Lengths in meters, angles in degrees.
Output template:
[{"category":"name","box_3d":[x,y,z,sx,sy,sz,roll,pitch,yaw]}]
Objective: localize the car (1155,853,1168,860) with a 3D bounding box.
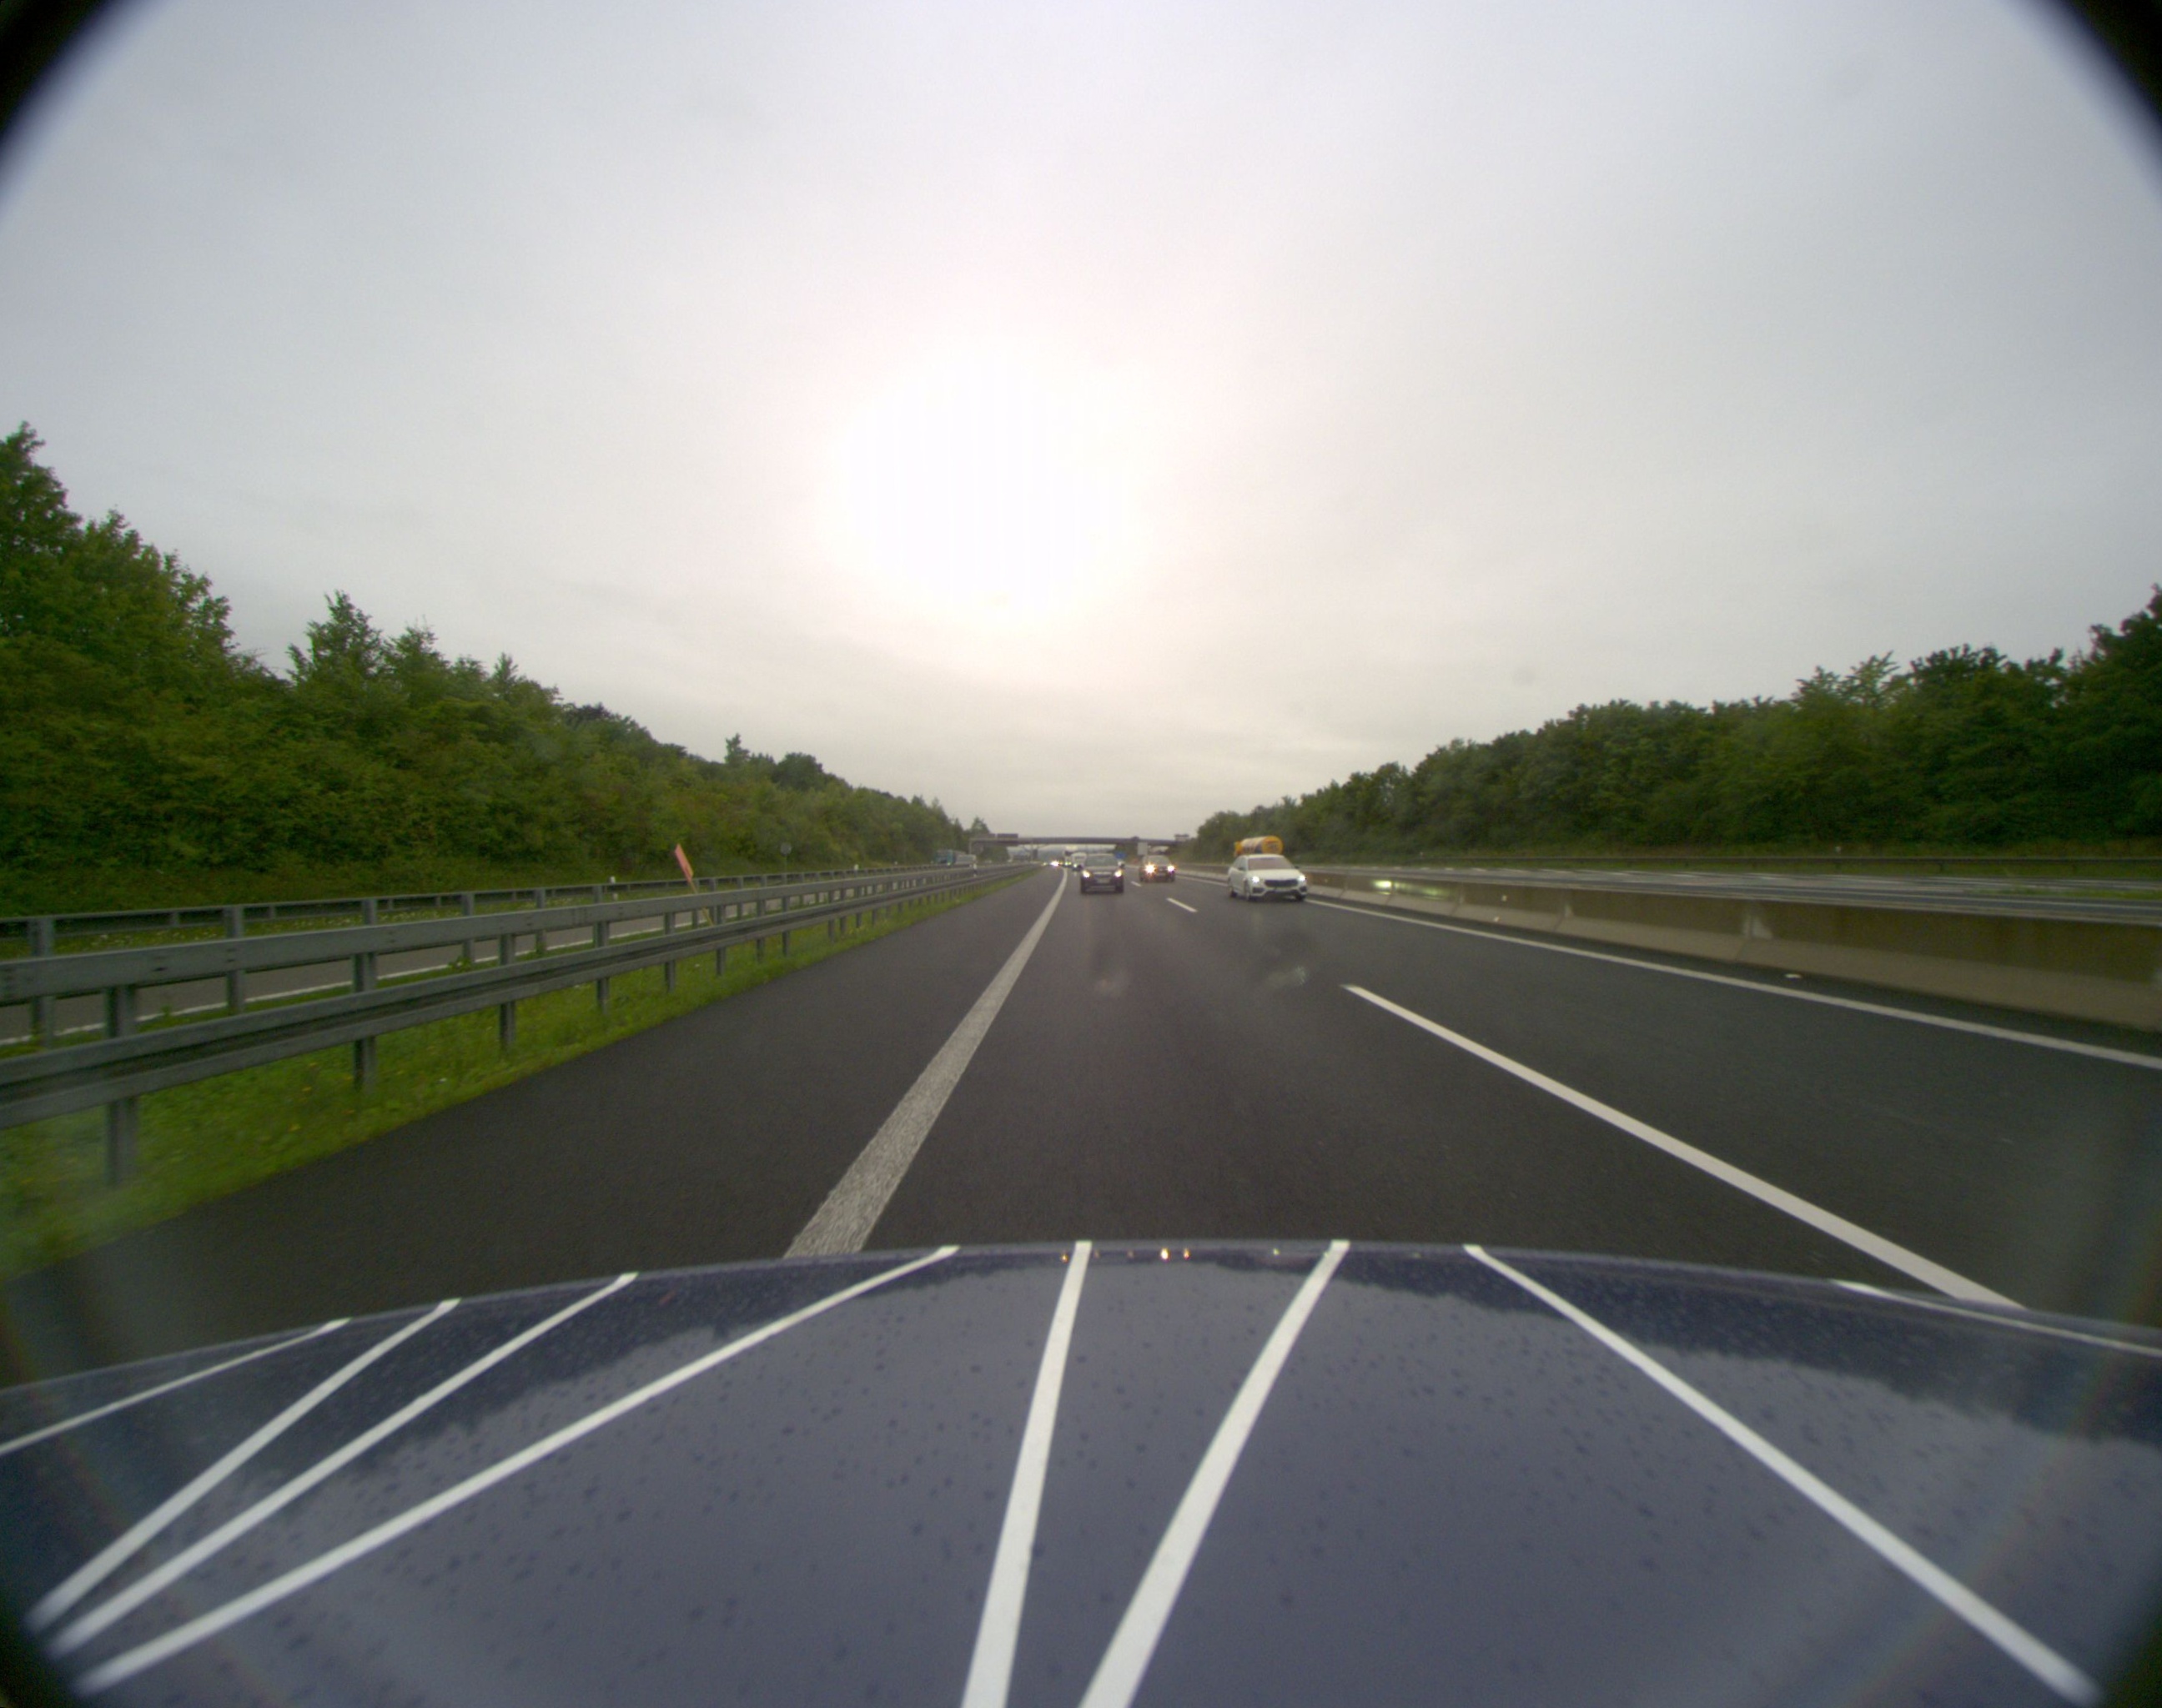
[{"category":"car","box_3d":[19.849,0.564,187.071,2.187,1.686,4.564,-1,0,-8]}]

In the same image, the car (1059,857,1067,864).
[{"category":"car","box_3d":[-4.674,1.756,198.664,1.917,1.671,4.000,-1,0,1]}]

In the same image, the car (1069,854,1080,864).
[{"category":"car","box_3d":[-1.105,0.865,129.584,1.716,1.724,3.999,-1,0,-1]}]

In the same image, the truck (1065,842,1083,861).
[{"category":"truck","box_3d":[-1.389,-0.475,147.329,3.154,3.332,13.098,-1,0,-1]}]

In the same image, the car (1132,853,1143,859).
[{"category":"car","box_3d":[16.686,0.515,223.746,2.187,1.686,4.624,-2,0,-10]}]

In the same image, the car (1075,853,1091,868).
[{"category":"car","box_3d":[0.231,0.715,89.025,1.825,1.669,4.000,-1,0,1]}]

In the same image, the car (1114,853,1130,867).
[{"category":"car","box_3d":[5.204,0.722,96.551,1.716,1.724,3.999,-1,0,-1]}]

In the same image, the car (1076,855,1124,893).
[{"category":"car","box_3d":[0.780,0.817,32.562,1.905,1.497,4.114,-1,0,1]}]

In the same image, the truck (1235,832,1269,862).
[{"category":"truck","box_3d":[20.384,-0.777,90.793,2.768,3.378,5.845,-2,1,1]}]

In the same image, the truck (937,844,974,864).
[{"category":"truck","box_3d":[-21.876,-0.025,133.493,2.907,3.397,13.359,-1,0,6]}]

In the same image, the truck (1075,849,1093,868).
[{"category":"truck","box_3d":[0.357,0.567,95.945,2.175,2.214,5.642,-1,0,0]}]

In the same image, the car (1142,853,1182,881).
[{"category":"car","box_3d":[4.649,0.696,43.924,1.905,1.497,4.114,-1,0,1]}]

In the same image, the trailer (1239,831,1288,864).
[{"category":"trailer","box_3d":[20.261,-0.737,85.109,2.768,3.378,11.447,-2,0,1]}]

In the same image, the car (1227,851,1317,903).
[{"category":"car","box_3d":[6.060,0.683,24.586,1.905,1.497,4.114,-1,0,1]}]

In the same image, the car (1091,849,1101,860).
[{"category":"car","box_3d":[2.910,0.100,150.006,1.998,2.002,4.037,-1,0,1]}]
